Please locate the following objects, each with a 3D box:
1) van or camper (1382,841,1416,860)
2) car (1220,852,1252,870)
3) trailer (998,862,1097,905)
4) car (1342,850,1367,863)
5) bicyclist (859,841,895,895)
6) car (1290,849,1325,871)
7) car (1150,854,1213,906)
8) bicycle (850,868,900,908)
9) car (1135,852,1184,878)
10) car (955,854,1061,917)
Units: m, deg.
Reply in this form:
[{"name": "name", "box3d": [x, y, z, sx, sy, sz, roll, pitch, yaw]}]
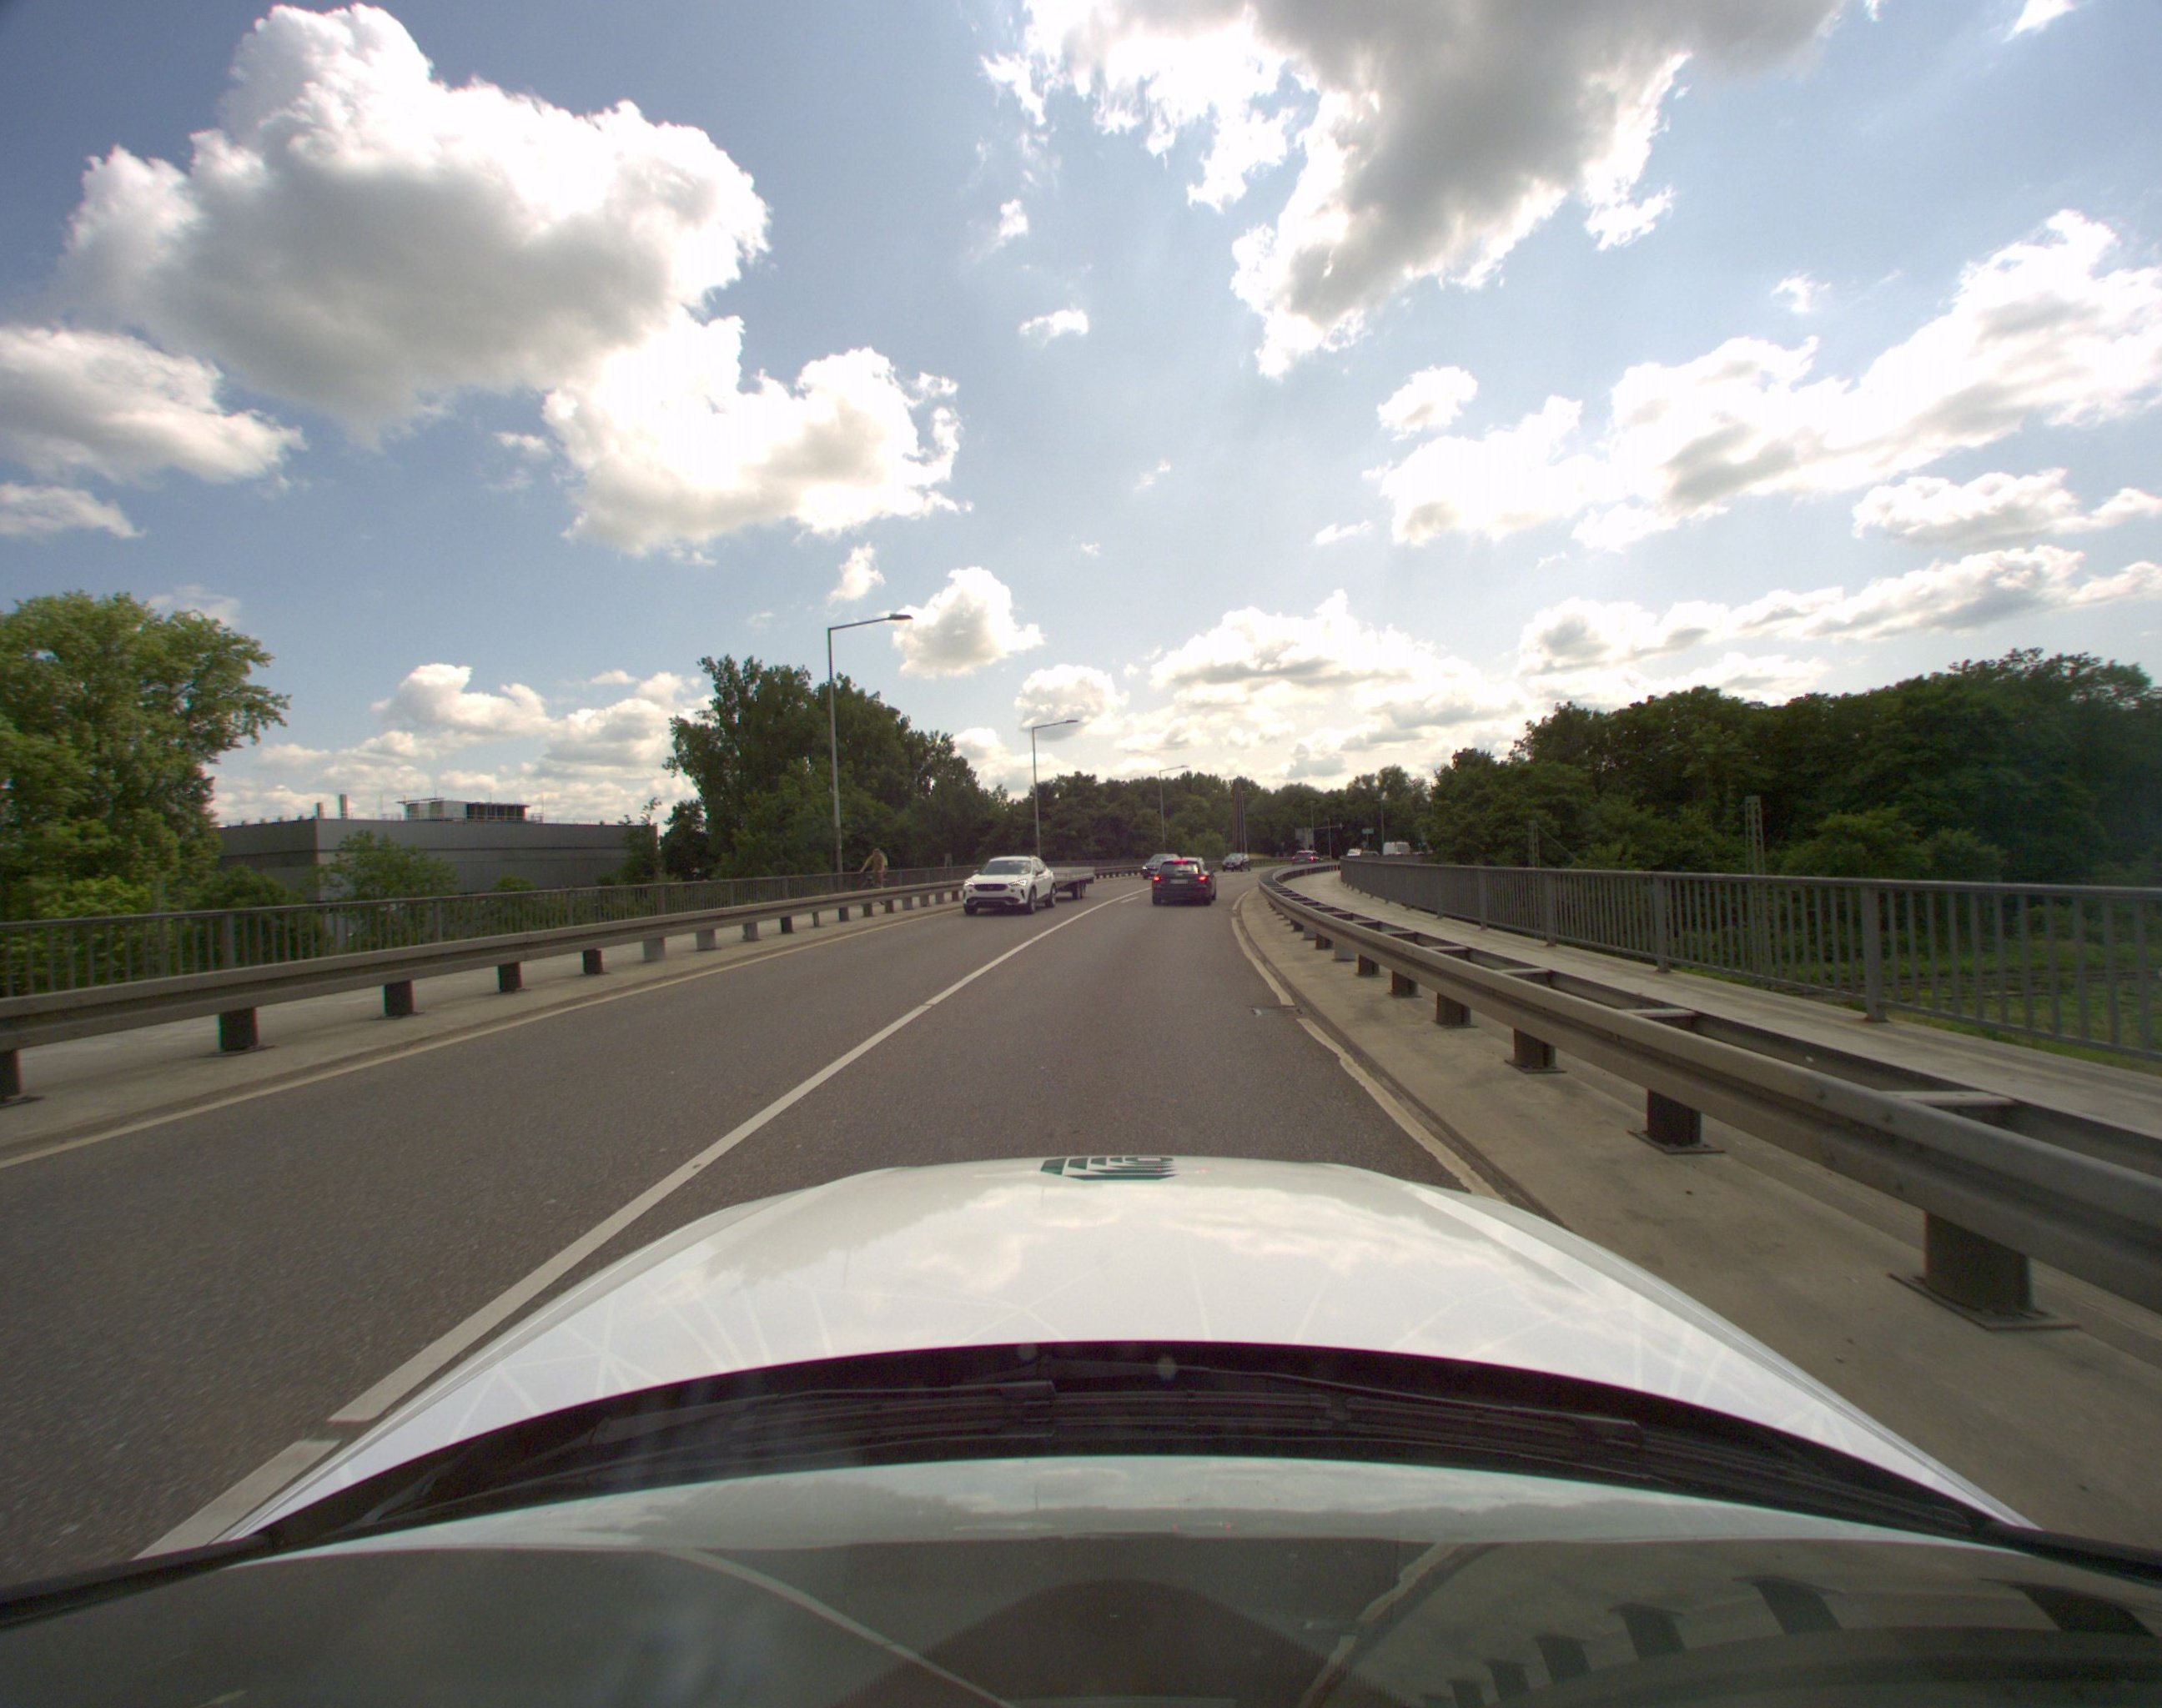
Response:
[{"name": "van or camper", "box3d": [39.280, -0.419, 100.598, 2.251, 2.340, 5.273, 0, 0, 42]}, {"name": "car", "box3d": [12.643, 0.559, 66.275, 1.798, 1.452, 3.948, 0, 0, 23]}, {"name": "trailer", "box3d": [-0.964, 0.924, 27.631, 2.032, 1.209, 6.000, -1, 0, 10]}, {"name": "car", "box3d": [36.018, 0.313, 107.172, 1.796, 1.754, 4.333, 0, 0, 37]}, {"name": "bicyclist", "box3d": [-6.196, 0.425, 24.748, 0.763, 1.602, 0.949, -1, -1, 5]}, {"name": "car", "box3d": [18.171, 0.460, 65.262, 1.804, 1.651, 3.880, 0, 0, 30]}, {"name": "car", "box3d": [3.244, 0.768, 25.875, 1.817, 1.492, 4.216, -1, 0, 8]}, {"name": "bicycle", "box3d": [-6.194, 0.996, 24.585, 0.765, 1.095, 2.118, -1, 0, 5]}, {"name": "car", "box3d": [4.810, 0.628, 49.177, 1.802, 1.451, 4.761, 0, 1, 20]}, {"name": "car", "box3d": [-1.890, 0.784, 22.499, 1.795, 1.535, 4.361, -1, 0, 10]}]
